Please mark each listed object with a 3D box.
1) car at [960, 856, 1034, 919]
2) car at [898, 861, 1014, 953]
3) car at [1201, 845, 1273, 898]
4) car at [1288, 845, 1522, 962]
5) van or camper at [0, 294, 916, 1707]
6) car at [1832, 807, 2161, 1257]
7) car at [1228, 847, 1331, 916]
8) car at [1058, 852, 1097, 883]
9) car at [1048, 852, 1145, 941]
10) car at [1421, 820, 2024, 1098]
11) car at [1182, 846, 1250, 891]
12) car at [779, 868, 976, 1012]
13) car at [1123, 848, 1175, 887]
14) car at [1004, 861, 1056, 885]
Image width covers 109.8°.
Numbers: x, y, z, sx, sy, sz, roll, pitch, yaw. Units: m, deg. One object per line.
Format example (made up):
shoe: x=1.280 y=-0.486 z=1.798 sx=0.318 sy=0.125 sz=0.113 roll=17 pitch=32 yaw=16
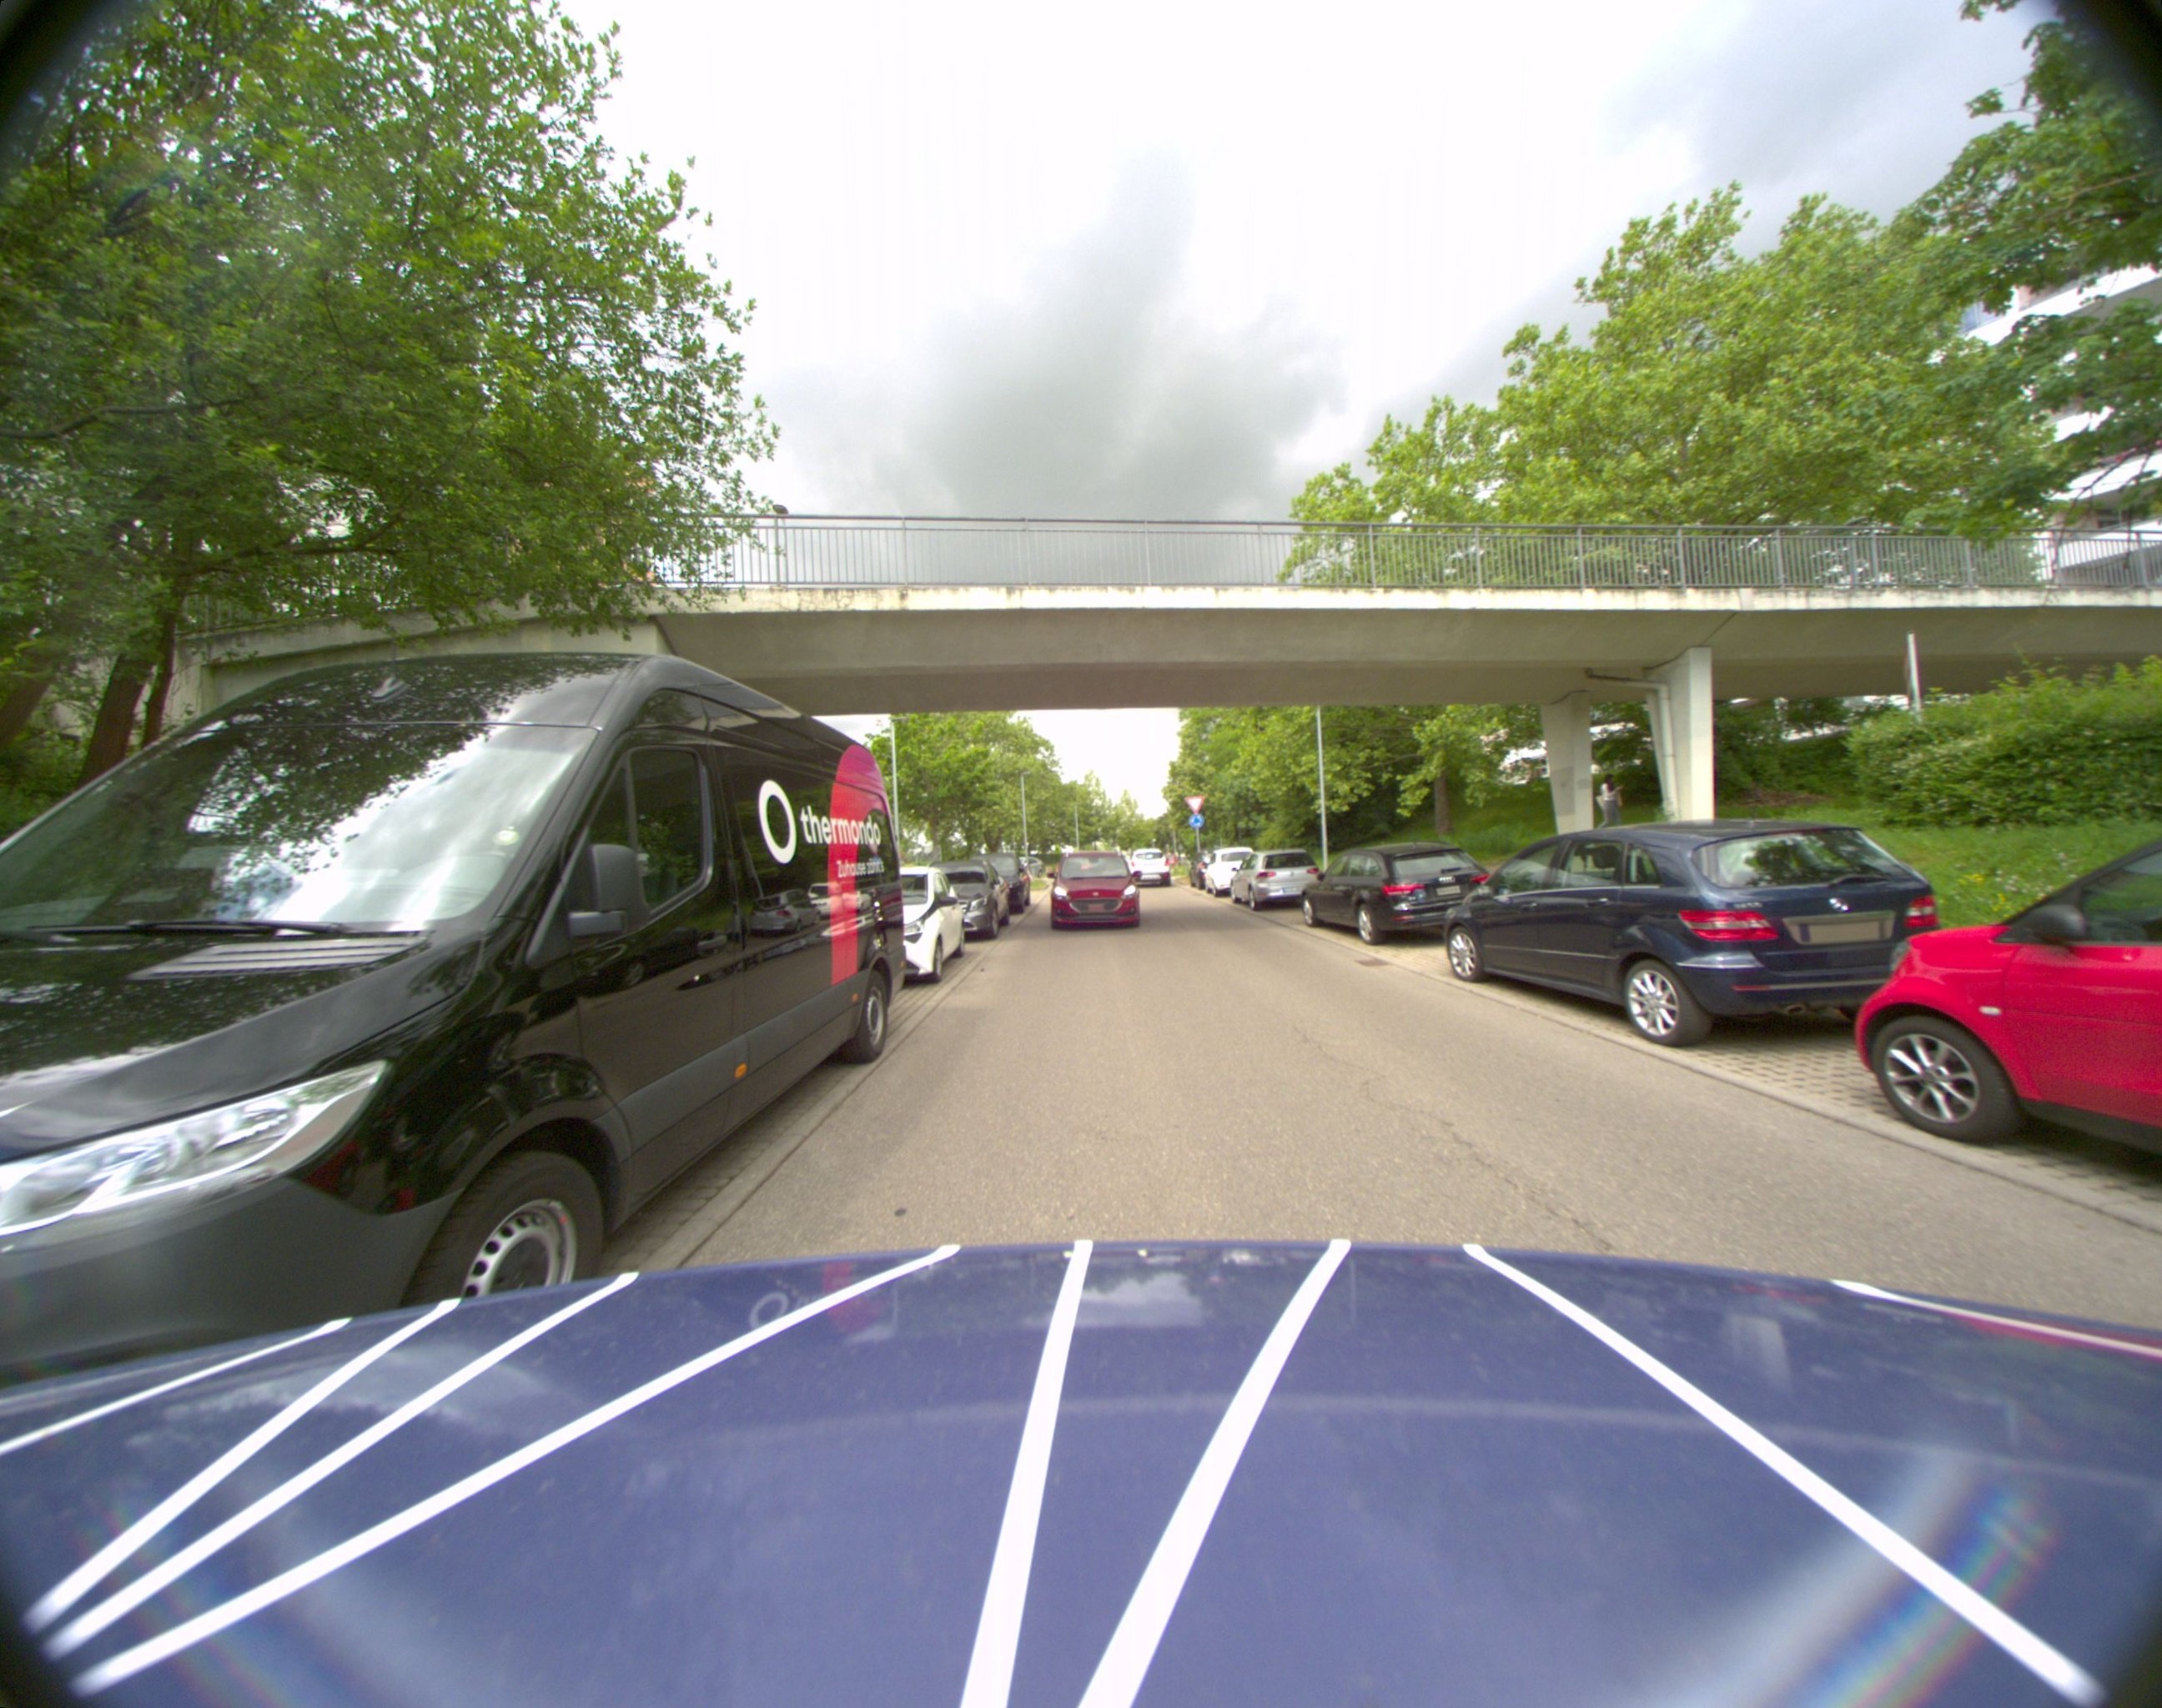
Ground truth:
car: x=-2.293 y=0.877 z=21.574 sx=1.604 sy=1.534 sz=3.721 roll=-2 pitch=1 yaw=1
car: x=-2.367 y=0.952 z=15.234 sx=1.604 sy=1.478 sz=3.721 roll=-2 pitch=1 yaw=1
car: x=5.062 y=0.513 z=25.059 sx=1.812 sy=1.561 sz=3.723 roll=-2 pitch=1 yaw=4
car: x=5.032 y=0.648 z=12.594 sx=1.813 sy=1.472 sz=4.485 roll=-4 pitch=1 yaw=-1
van or camper: x=-2.567 y=0.388 z=3.929 sx=1.998 sy=2.481 sz=5.757 roll=-2 pitch=1 yaw=1
car: x=4.756 y=0.644 z=2.618 sx=1.598 sy=1.576 sz=2.685 roll=-6 pitch=1 yaw=2
car: x=5.023 y=0.622 z=19.714 sx=1.812 sy=1.447 sz=3.861 roll=-5 pitch=0 yaw=4
car: x=-0.158 y=0.731 z=39.615 sx=1.862 sy=1.433 sz=4.001 roll=-4 pitch=-2 yaw=0
car: x=0.324 y=0.806 z=16.408 sx=1.813 sy=1.600 sz=3.721 roll=-2 pitch=1 yaw=1
car: x=4.863 y=0.641 z=6.685 sx=1.813 sy=1.575 sz=3.985 roll=-5 pitch=0 yaw=-1
car: x=5.148 y=0.498 z=29.458 sx=1.813 sy=1.561 sz=3.721 roll=-2 pitch=1 yaw=-2
car: x=-2.541 y=1.003 z=10.384 sx=1.586 sy=1.441 sz=3.721 roll=-2 pitch=1 yaw=1
car: x=2.951 y=0.556 z=33.541 sx=1.813 sy=1.561 sz=3.721 roll=-2 pitch=1 yaw=-2
car: x=-3.669 y=1.362 z=55.550 sx=1.711 sy=1.521 sz=3.788 roll=-1 pitch=1 yaw=36
